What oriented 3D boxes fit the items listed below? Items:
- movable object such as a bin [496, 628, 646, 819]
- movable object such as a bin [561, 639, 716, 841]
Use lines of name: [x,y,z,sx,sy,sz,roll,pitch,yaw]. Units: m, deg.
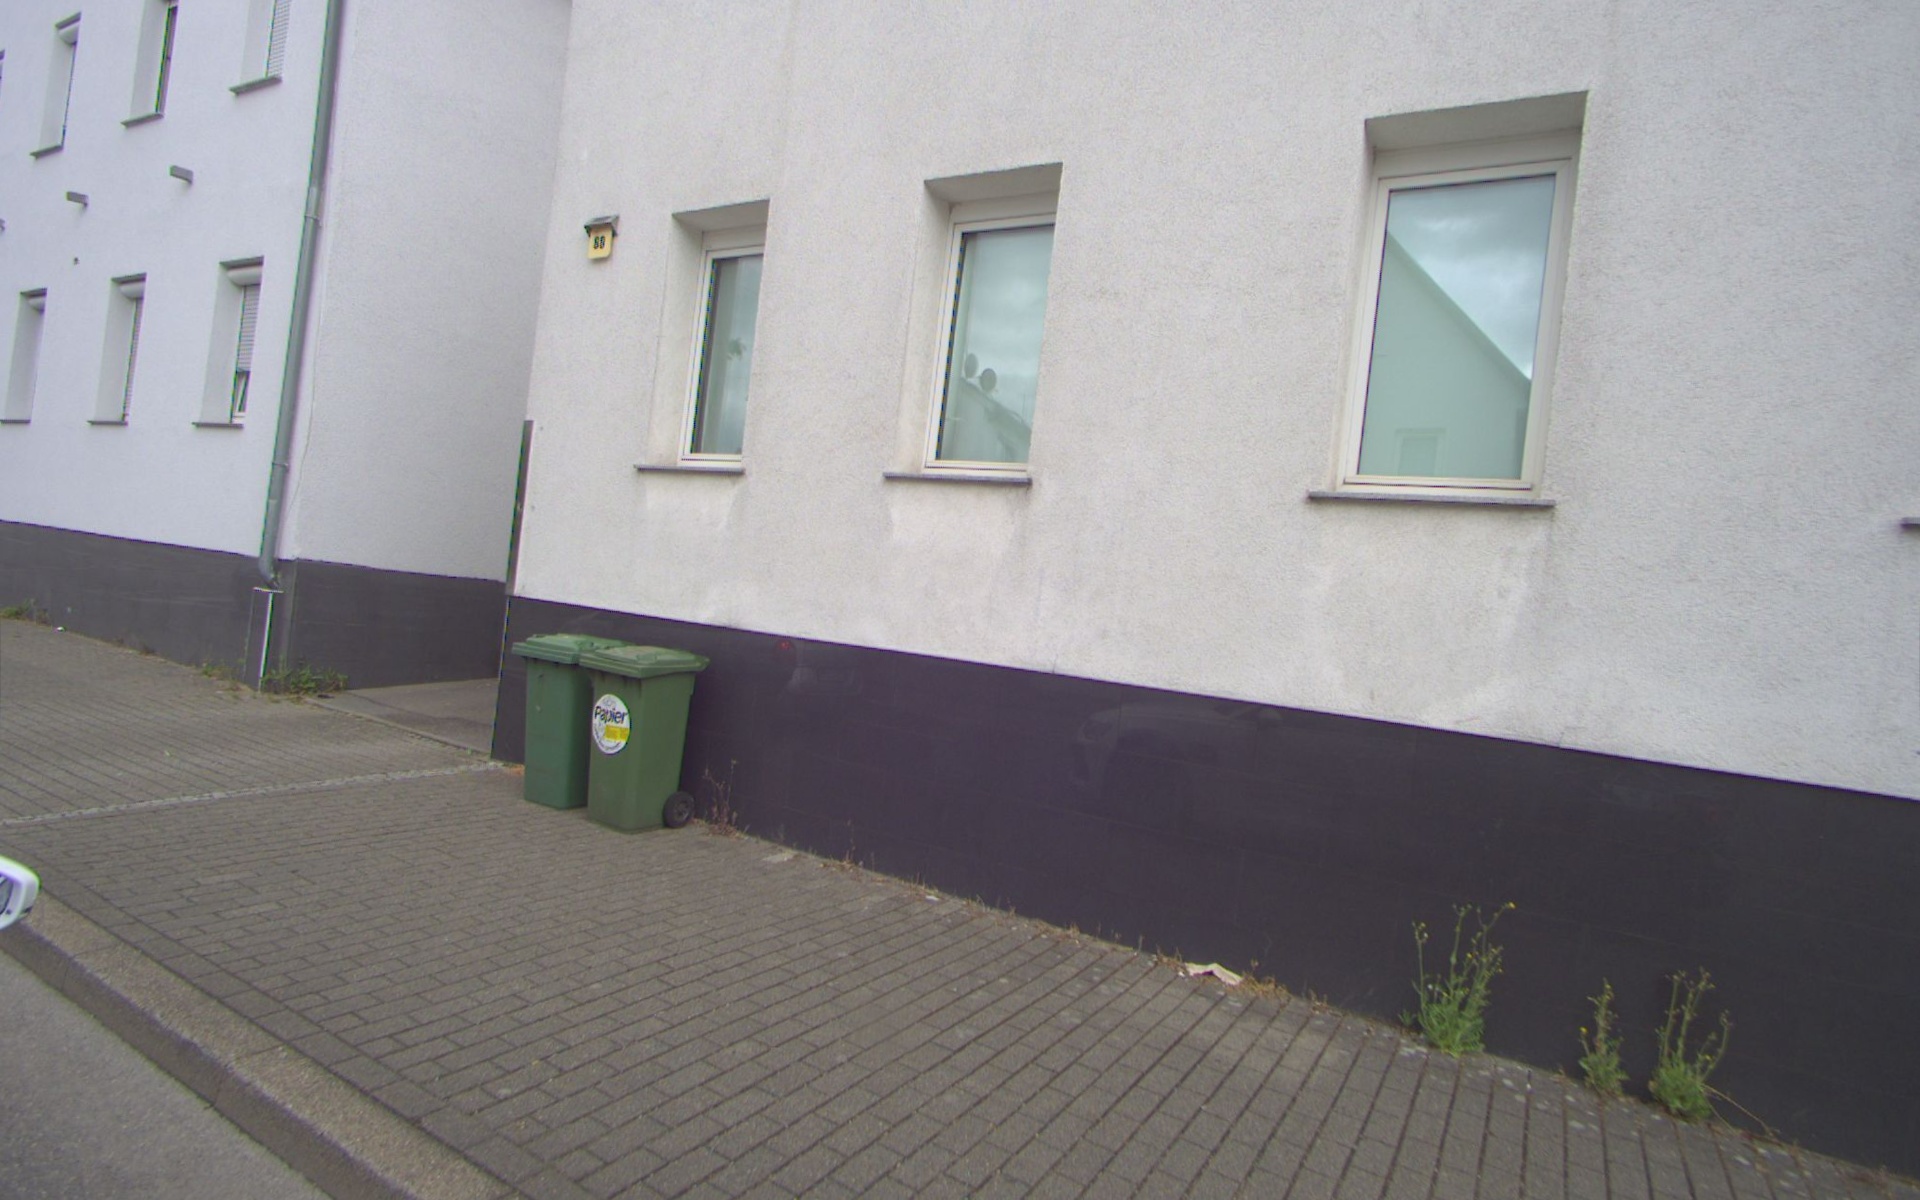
movable object such as a bin: [-2.159,0.659,5.601,0.479,0.953,0.540,7,2,32]
movable object such as a bin: [-1.701,0.712,5.344,0.479,0.953,0.540,7,2,32]
